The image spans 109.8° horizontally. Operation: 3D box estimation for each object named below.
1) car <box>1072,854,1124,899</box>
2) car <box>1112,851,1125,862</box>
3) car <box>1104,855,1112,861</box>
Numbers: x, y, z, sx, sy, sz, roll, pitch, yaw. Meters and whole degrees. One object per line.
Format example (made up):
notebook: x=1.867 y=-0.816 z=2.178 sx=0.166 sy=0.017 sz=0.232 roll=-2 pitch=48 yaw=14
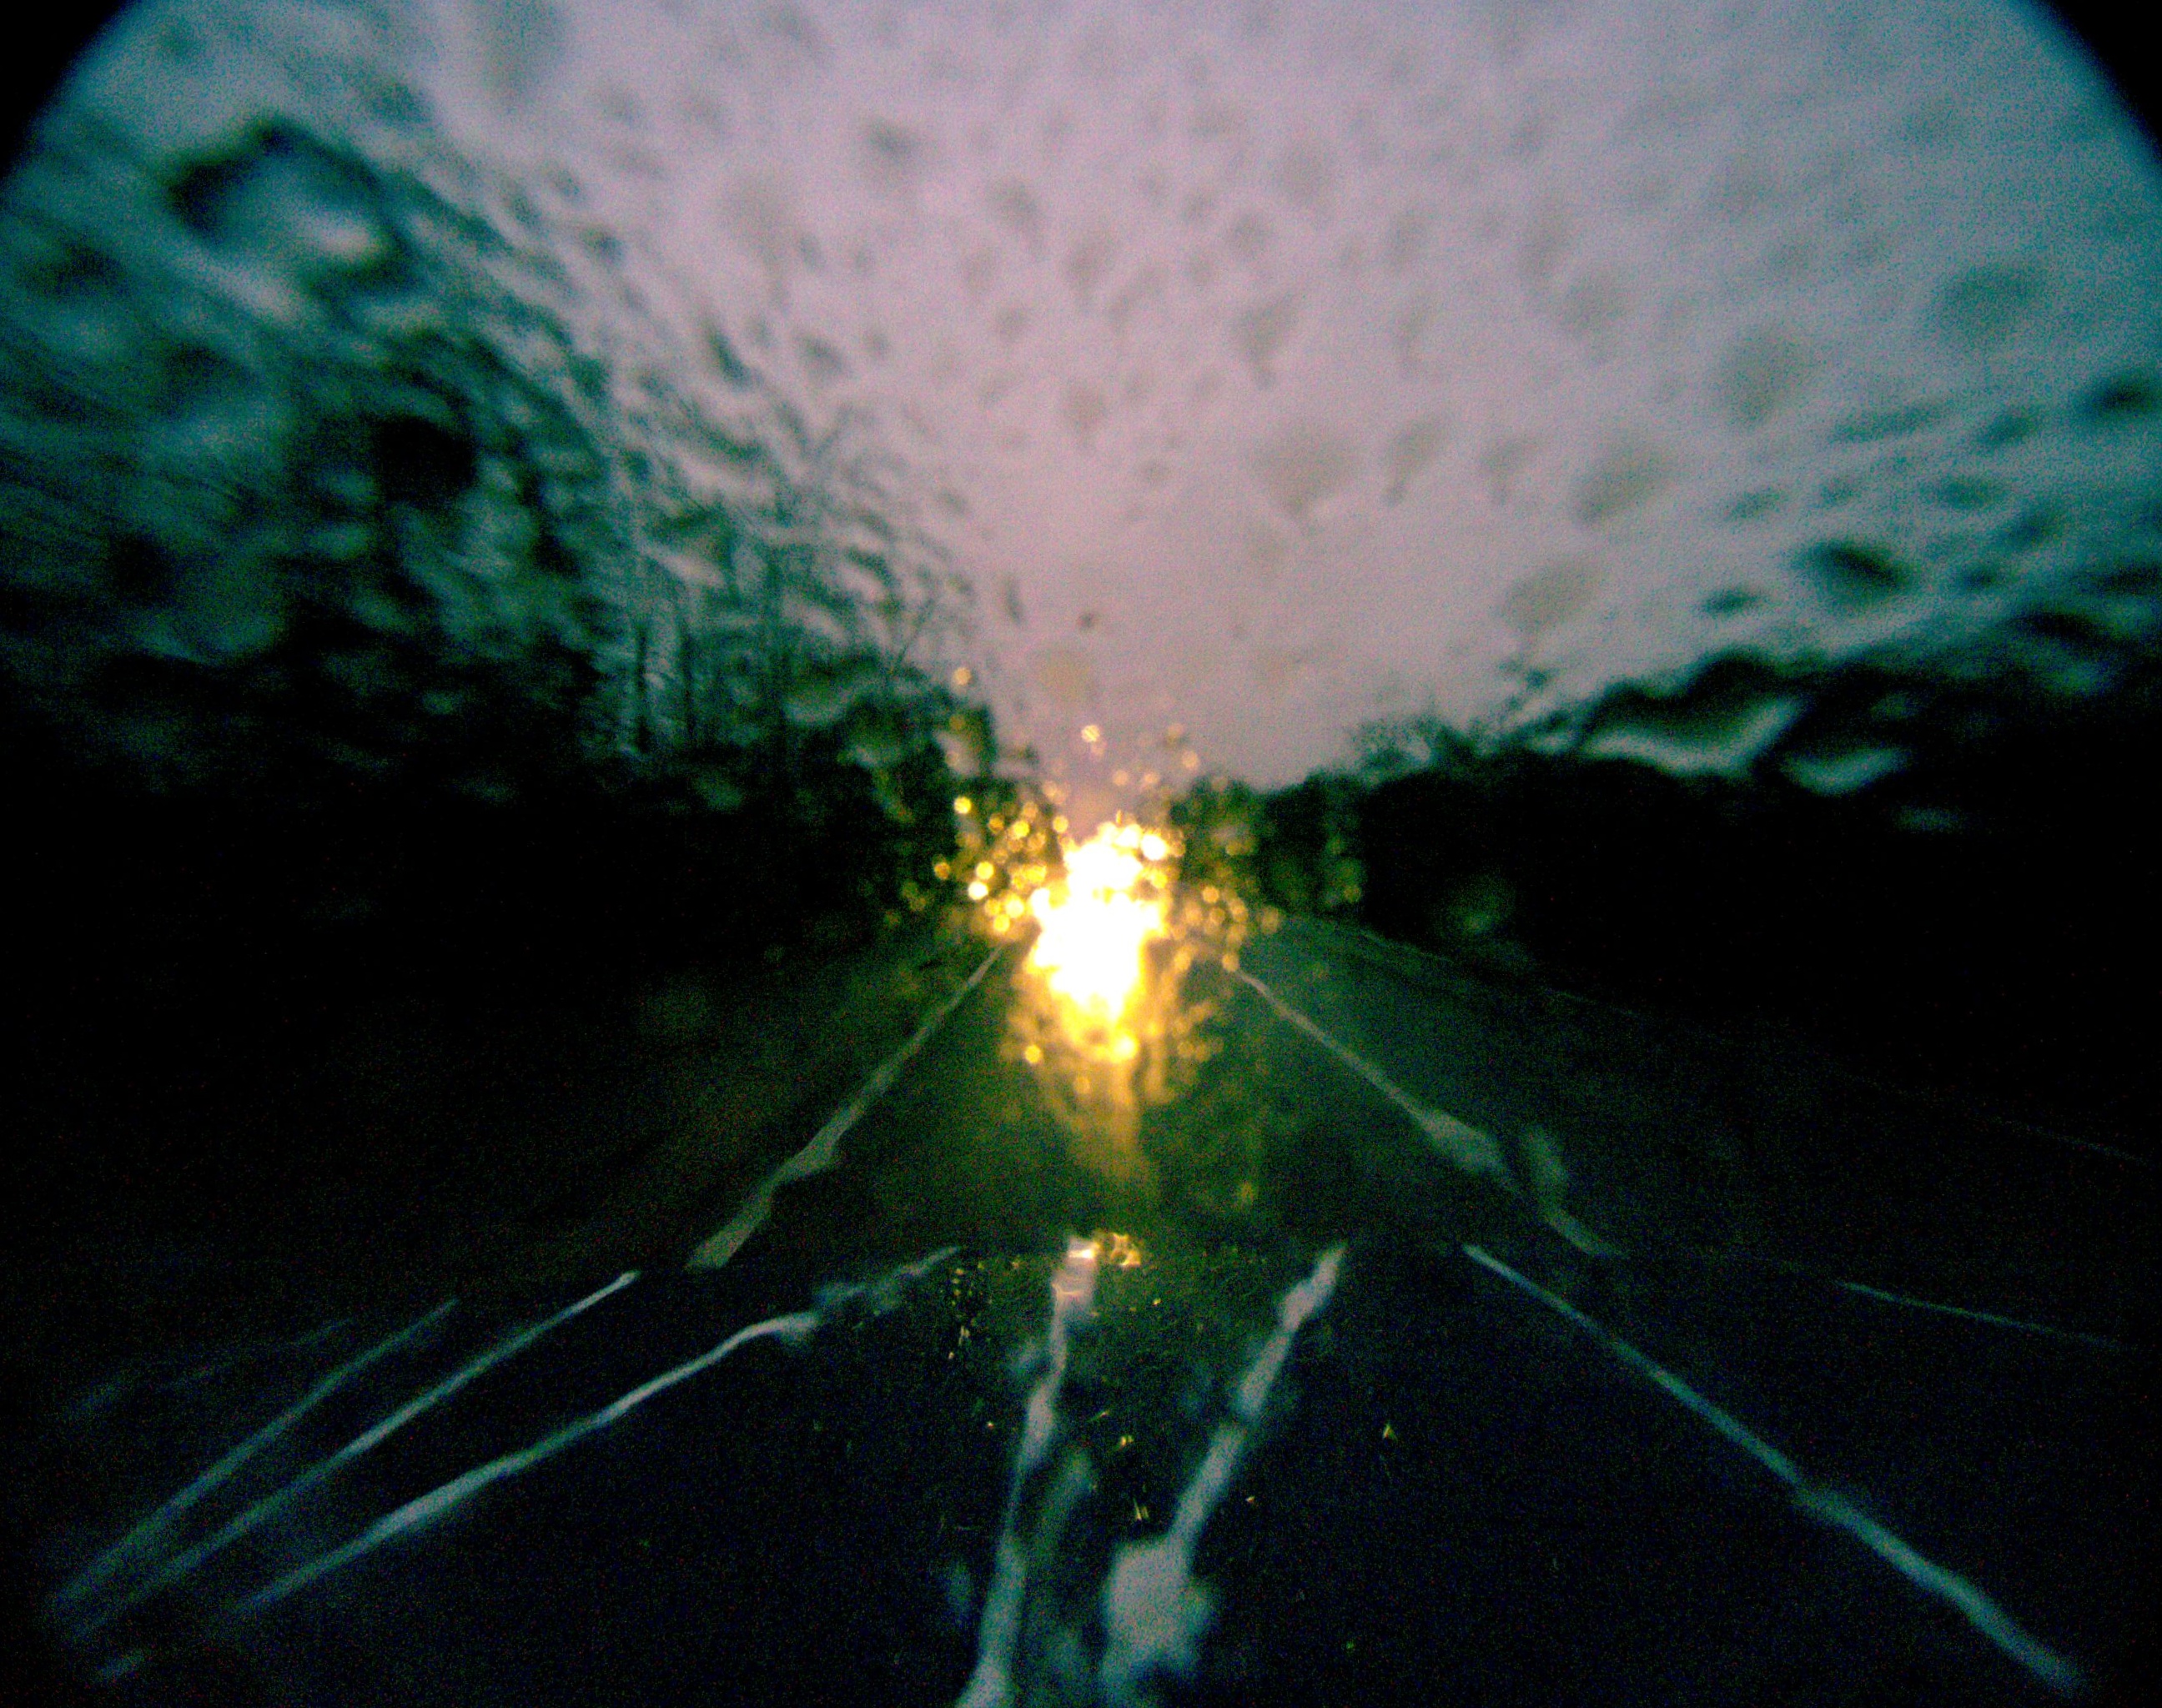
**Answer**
car: x=0.638 y=0.815 z=29.688 sx=1.860 sy=1.604 sz=4.000 roll=-1 pitch=0 yaw=1
car: x=5.619 y=0.376 z=113.685 sx=1.771 sy=1.589 sz=4.000 roll=1 pitch=0 yaw=0
car: x=6.334 y=0.906 z=178.455 sx=1.809 sy=1.478 sz=4.000 roll=1 pitch=0 yaw=0
